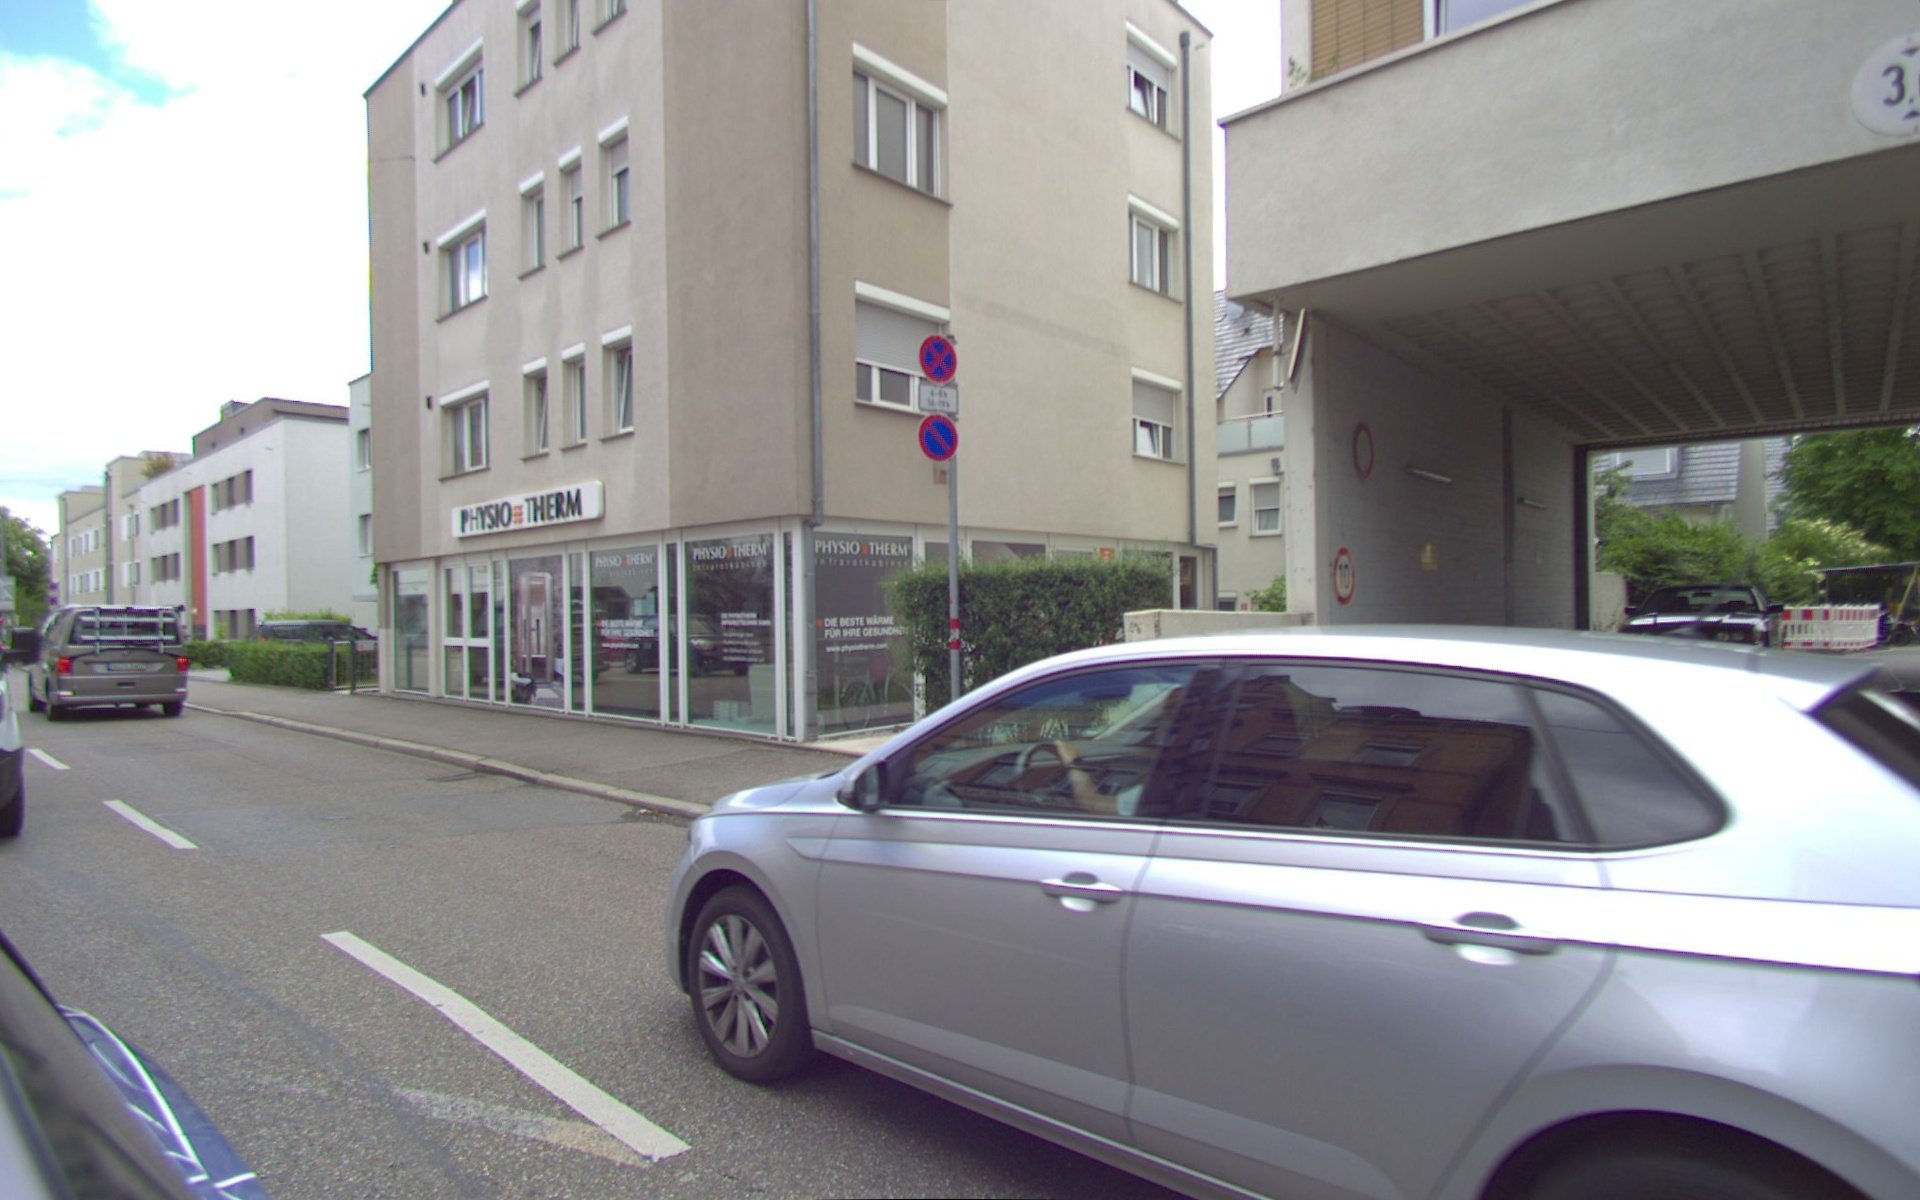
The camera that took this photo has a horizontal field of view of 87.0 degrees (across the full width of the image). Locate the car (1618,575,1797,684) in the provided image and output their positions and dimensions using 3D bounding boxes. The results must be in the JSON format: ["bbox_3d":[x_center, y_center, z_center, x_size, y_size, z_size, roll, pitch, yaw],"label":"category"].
[{"bbox_3d":[10.838,0.352,14.550,1.624,1.333,4.391,-1,0,42],"label":"car"}]

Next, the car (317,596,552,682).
[{"bbox_3d":[-13.372,0.925,25.997,1.967,2.013,5.014,-2,-1,44],"label":"car"}]

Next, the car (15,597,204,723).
[{"bbox_3d":[-15.634,1.048,18.519,4.759,2.013,1.939,-2,-3,41],"label":"car"}]

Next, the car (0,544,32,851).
[{"bbox_3d":[-8.757,0.701,7.693,5.084,2.013,1.940,-2,-1,41],"label":"car"}]

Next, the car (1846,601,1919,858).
[{"bbox_3d":[5.710,0.698,3.780,1.640,1.409,4.436,-1,0,13],"label":"car"}]

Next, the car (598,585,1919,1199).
[{"bbox_3d":[0.758,0.759,2.979,4.000,1.428,1.779,-2,-3,43],"label":"car"}]
